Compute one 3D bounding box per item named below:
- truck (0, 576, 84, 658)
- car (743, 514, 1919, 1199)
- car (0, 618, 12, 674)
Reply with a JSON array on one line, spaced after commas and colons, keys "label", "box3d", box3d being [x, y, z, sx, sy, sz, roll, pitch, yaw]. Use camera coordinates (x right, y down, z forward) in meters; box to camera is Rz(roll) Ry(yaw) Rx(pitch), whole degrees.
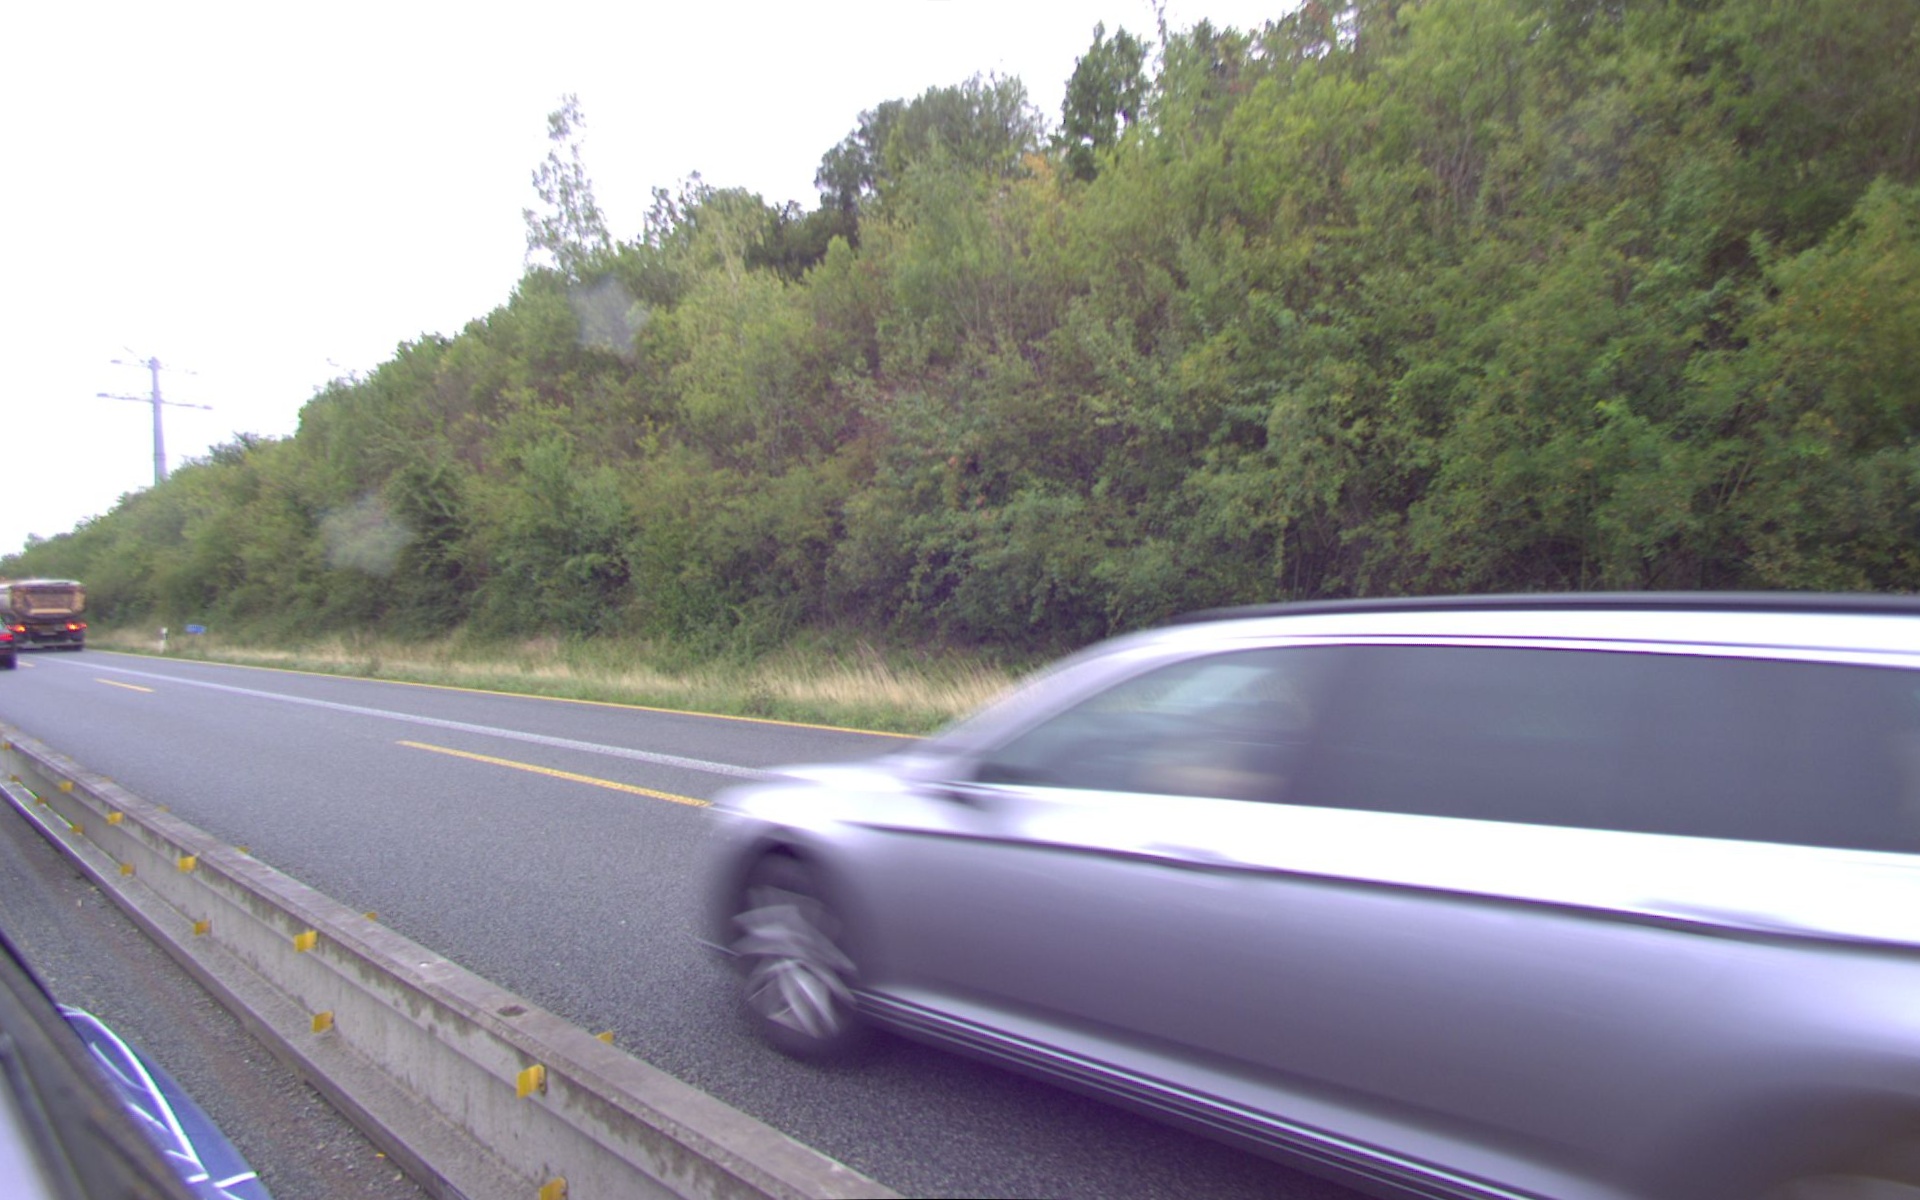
[{"label": "truck", "box3d": [-42.986, 0.734, 46.594, 12.046, 3.378, 2.508, -1, 0, 42]}, {"label": "car", "box3d": [1.556, 0.629, 2.462, 4.394, 1.499, 1.791, -1, 0, 41]}, {"label": "car", "box3d": [-29.233, 1.329, 29.589, 3.987, 1.571, 1.791, -1, 0, 41]}]
